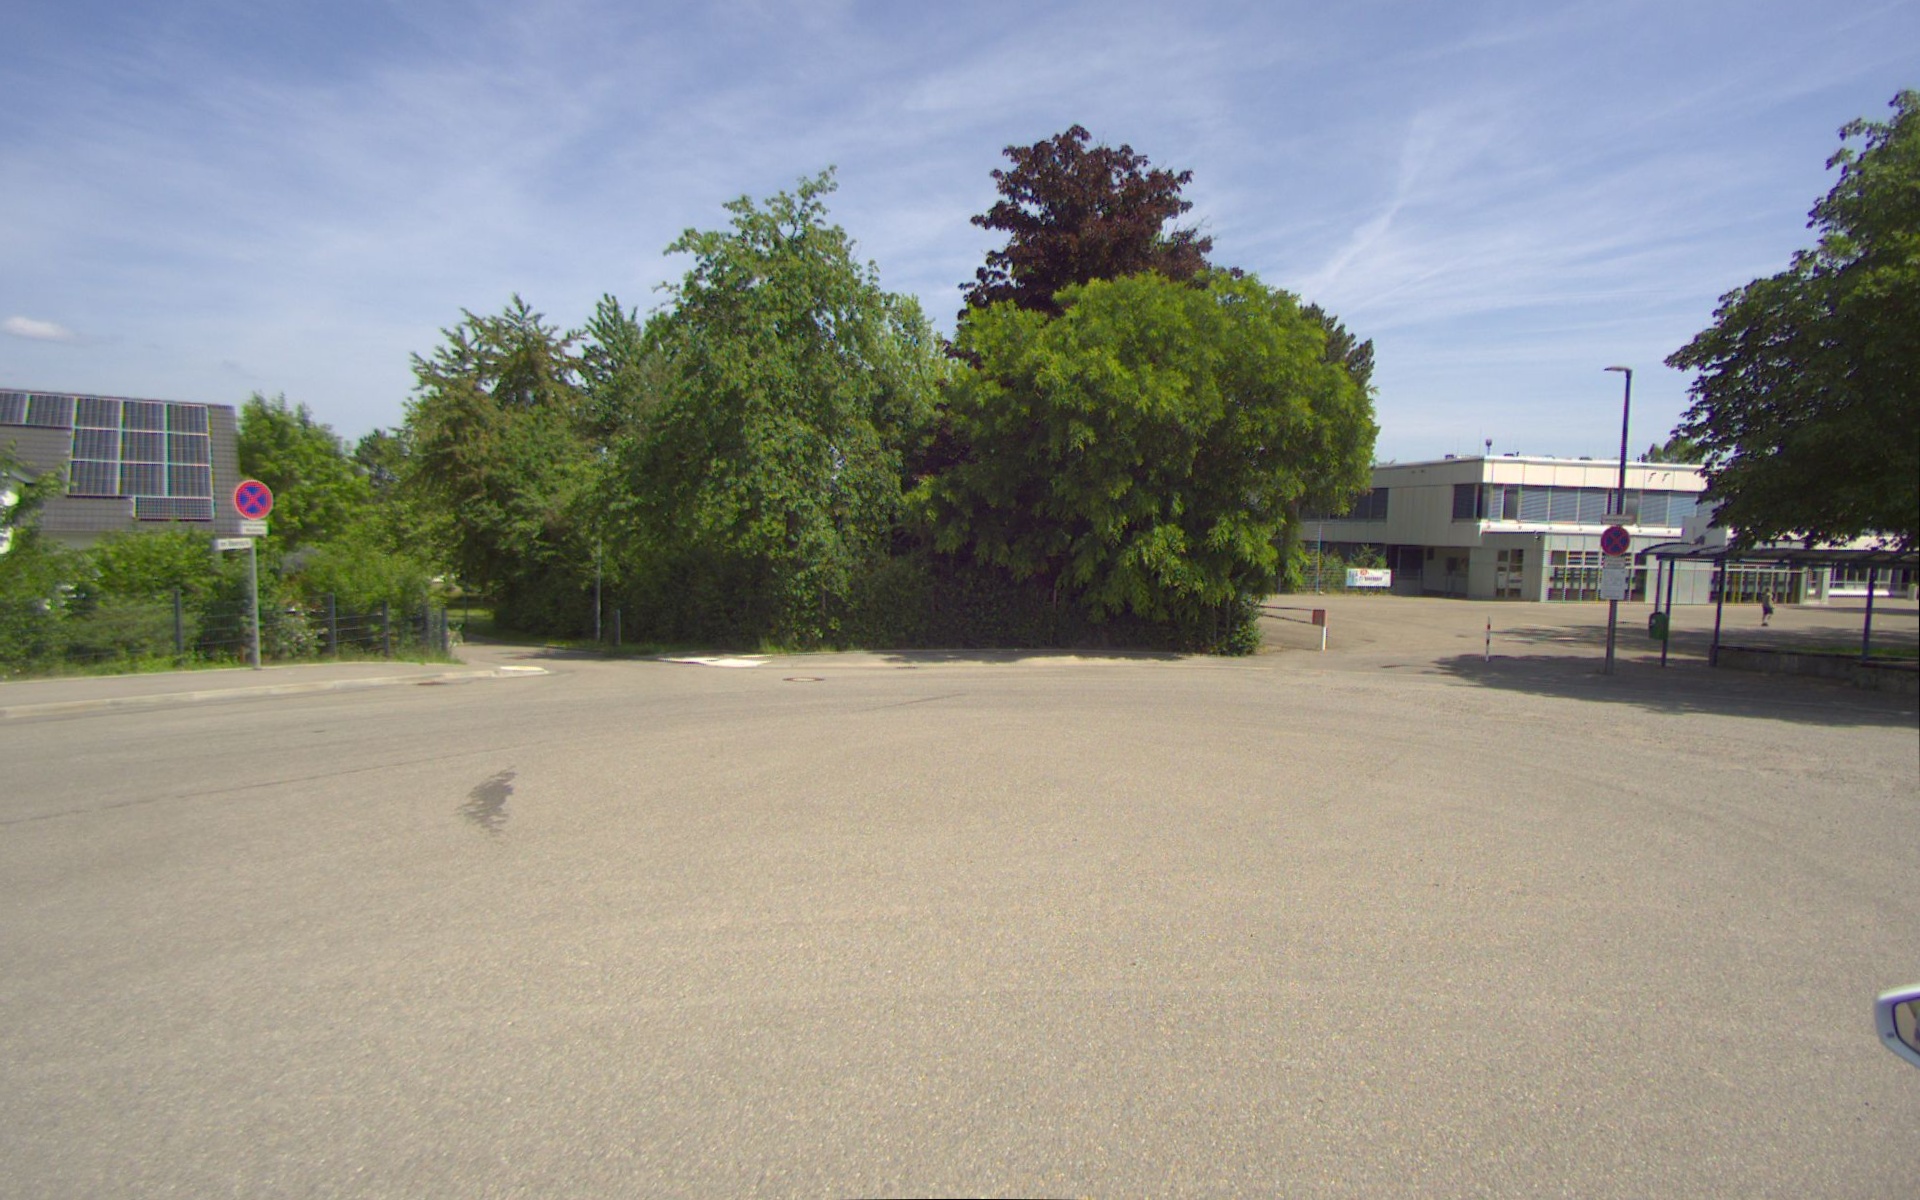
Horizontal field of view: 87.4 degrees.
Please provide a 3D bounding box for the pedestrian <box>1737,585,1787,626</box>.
[{"bbox_3d":[30.002,0.194,37.589,1.051,1.442,0.917,1,3,-12],"label":"pedestrian"}]

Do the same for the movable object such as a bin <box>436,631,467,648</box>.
[{"bbox_3d":[-20.090,1.543,39.683,0.539,0.637,1.021,-1,-1,17],"label":"movable object such as a bin"}]
